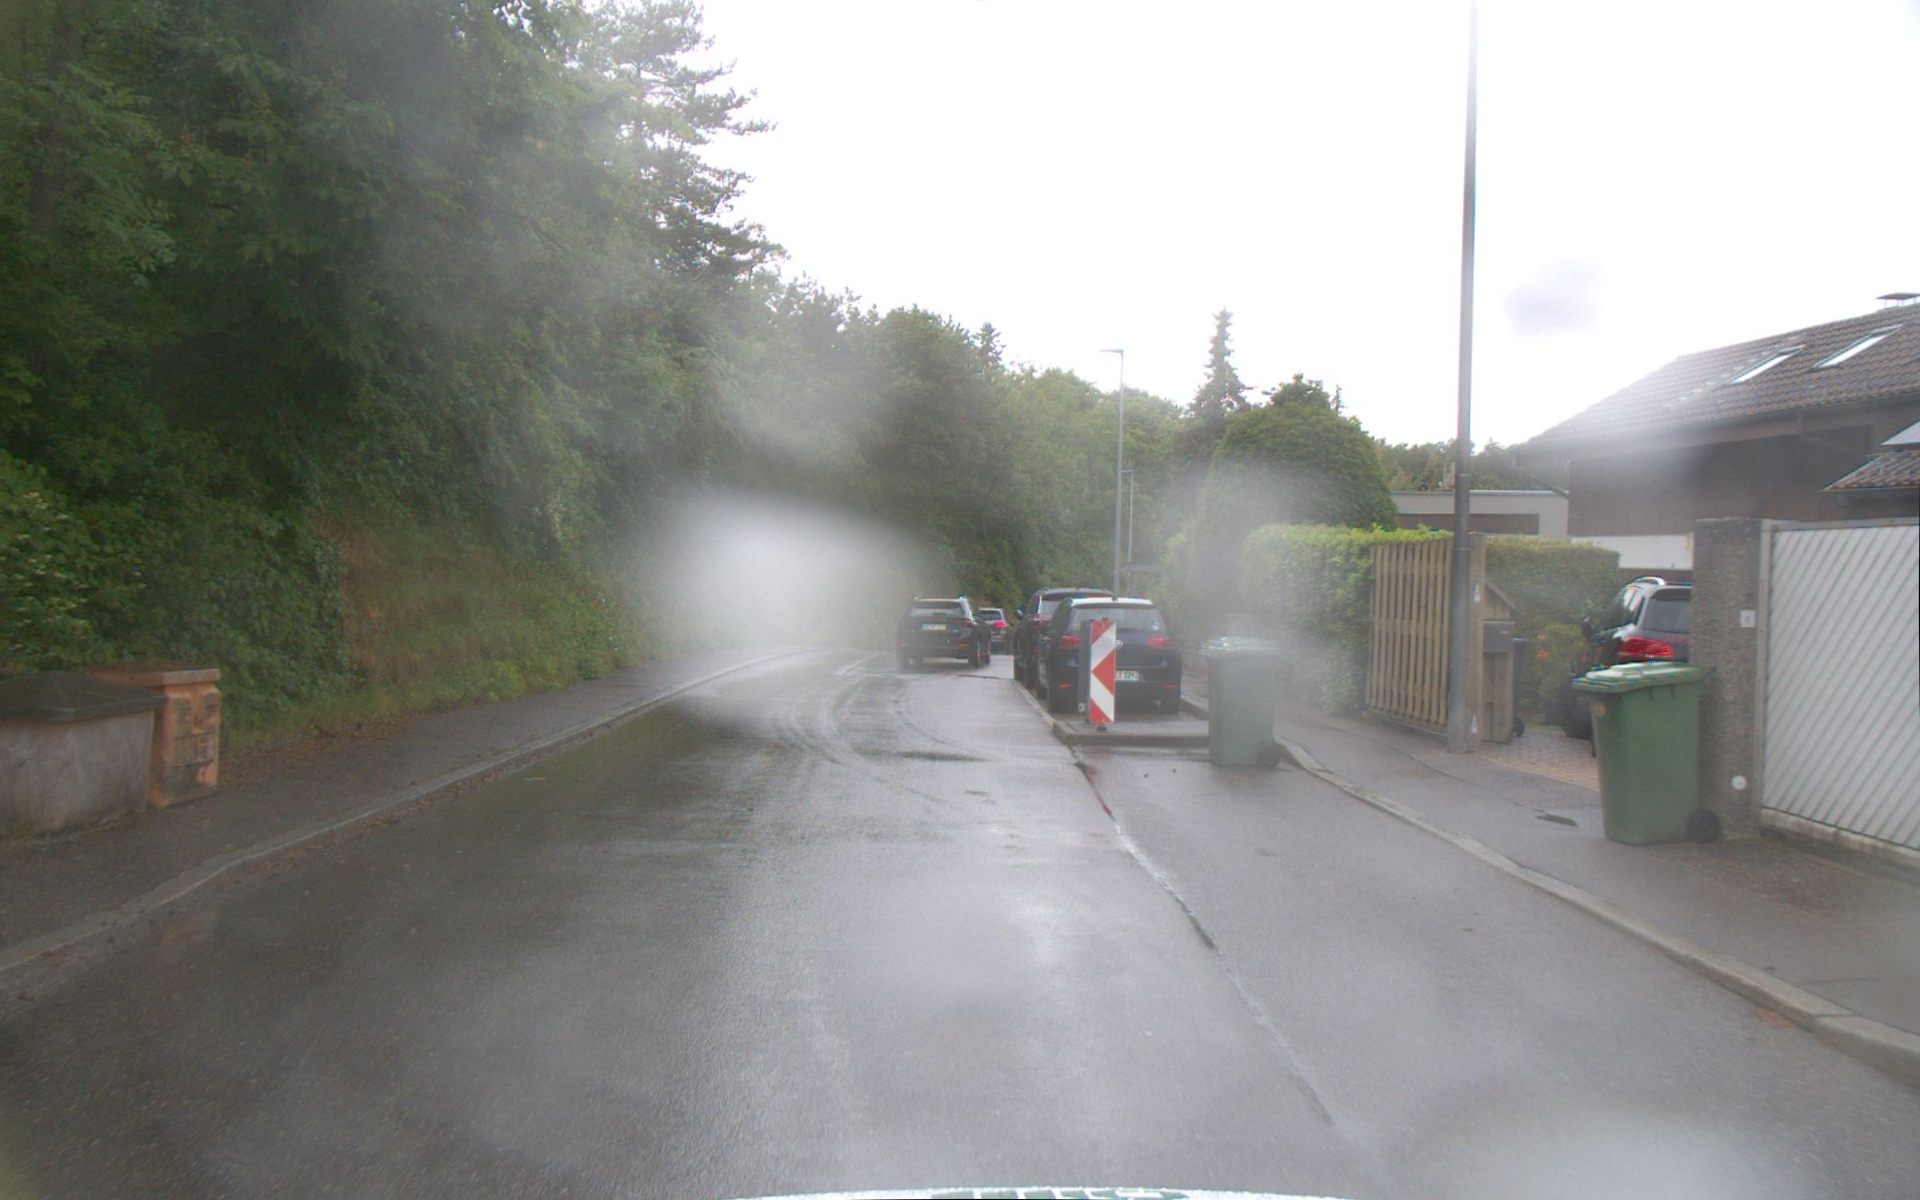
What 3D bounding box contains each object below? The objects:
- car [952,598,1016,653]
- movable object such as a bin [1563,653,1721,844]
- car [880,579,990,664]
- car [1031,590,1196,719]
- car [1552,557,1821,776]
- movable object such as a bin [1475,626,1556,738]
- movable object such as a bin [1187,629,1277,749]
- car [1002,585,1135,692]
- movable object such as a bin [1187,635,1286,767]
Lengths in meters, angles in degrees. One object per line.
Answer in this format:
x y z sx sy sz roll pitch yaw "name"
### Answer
0.819 0.801 54.498 1.952 1.633 4.410 2 1 2 "car"
4.196 0.901 10.208 0.723 1.107 0.600 -1 1 2 "movable object such as a bin"
-0.468 0.503 35.351 1.829 1.539 4.094 3 -3 6 "car"
1.961 0.653 22.227 1.720 1.487 4.300 2 1 -1 "car"
7.050 0.610 16.493 1.952 1.749 4.410 4 0 18 "car"
5.948 0.866 17.733 0.732 1.123 0.820 4 0 18 "movable object such as a bin"
2.619 0.849 15.978 0.714 1.097 0.661 2 0 -3 "movable object such as a bin"
1.738 0.572 27.757 1.837 1.619 4.479 1 1 -1 "car"
2.471 0.894 14.828 0.701 1.114 0.656 2 0 -5 "movable object such as a bin"
